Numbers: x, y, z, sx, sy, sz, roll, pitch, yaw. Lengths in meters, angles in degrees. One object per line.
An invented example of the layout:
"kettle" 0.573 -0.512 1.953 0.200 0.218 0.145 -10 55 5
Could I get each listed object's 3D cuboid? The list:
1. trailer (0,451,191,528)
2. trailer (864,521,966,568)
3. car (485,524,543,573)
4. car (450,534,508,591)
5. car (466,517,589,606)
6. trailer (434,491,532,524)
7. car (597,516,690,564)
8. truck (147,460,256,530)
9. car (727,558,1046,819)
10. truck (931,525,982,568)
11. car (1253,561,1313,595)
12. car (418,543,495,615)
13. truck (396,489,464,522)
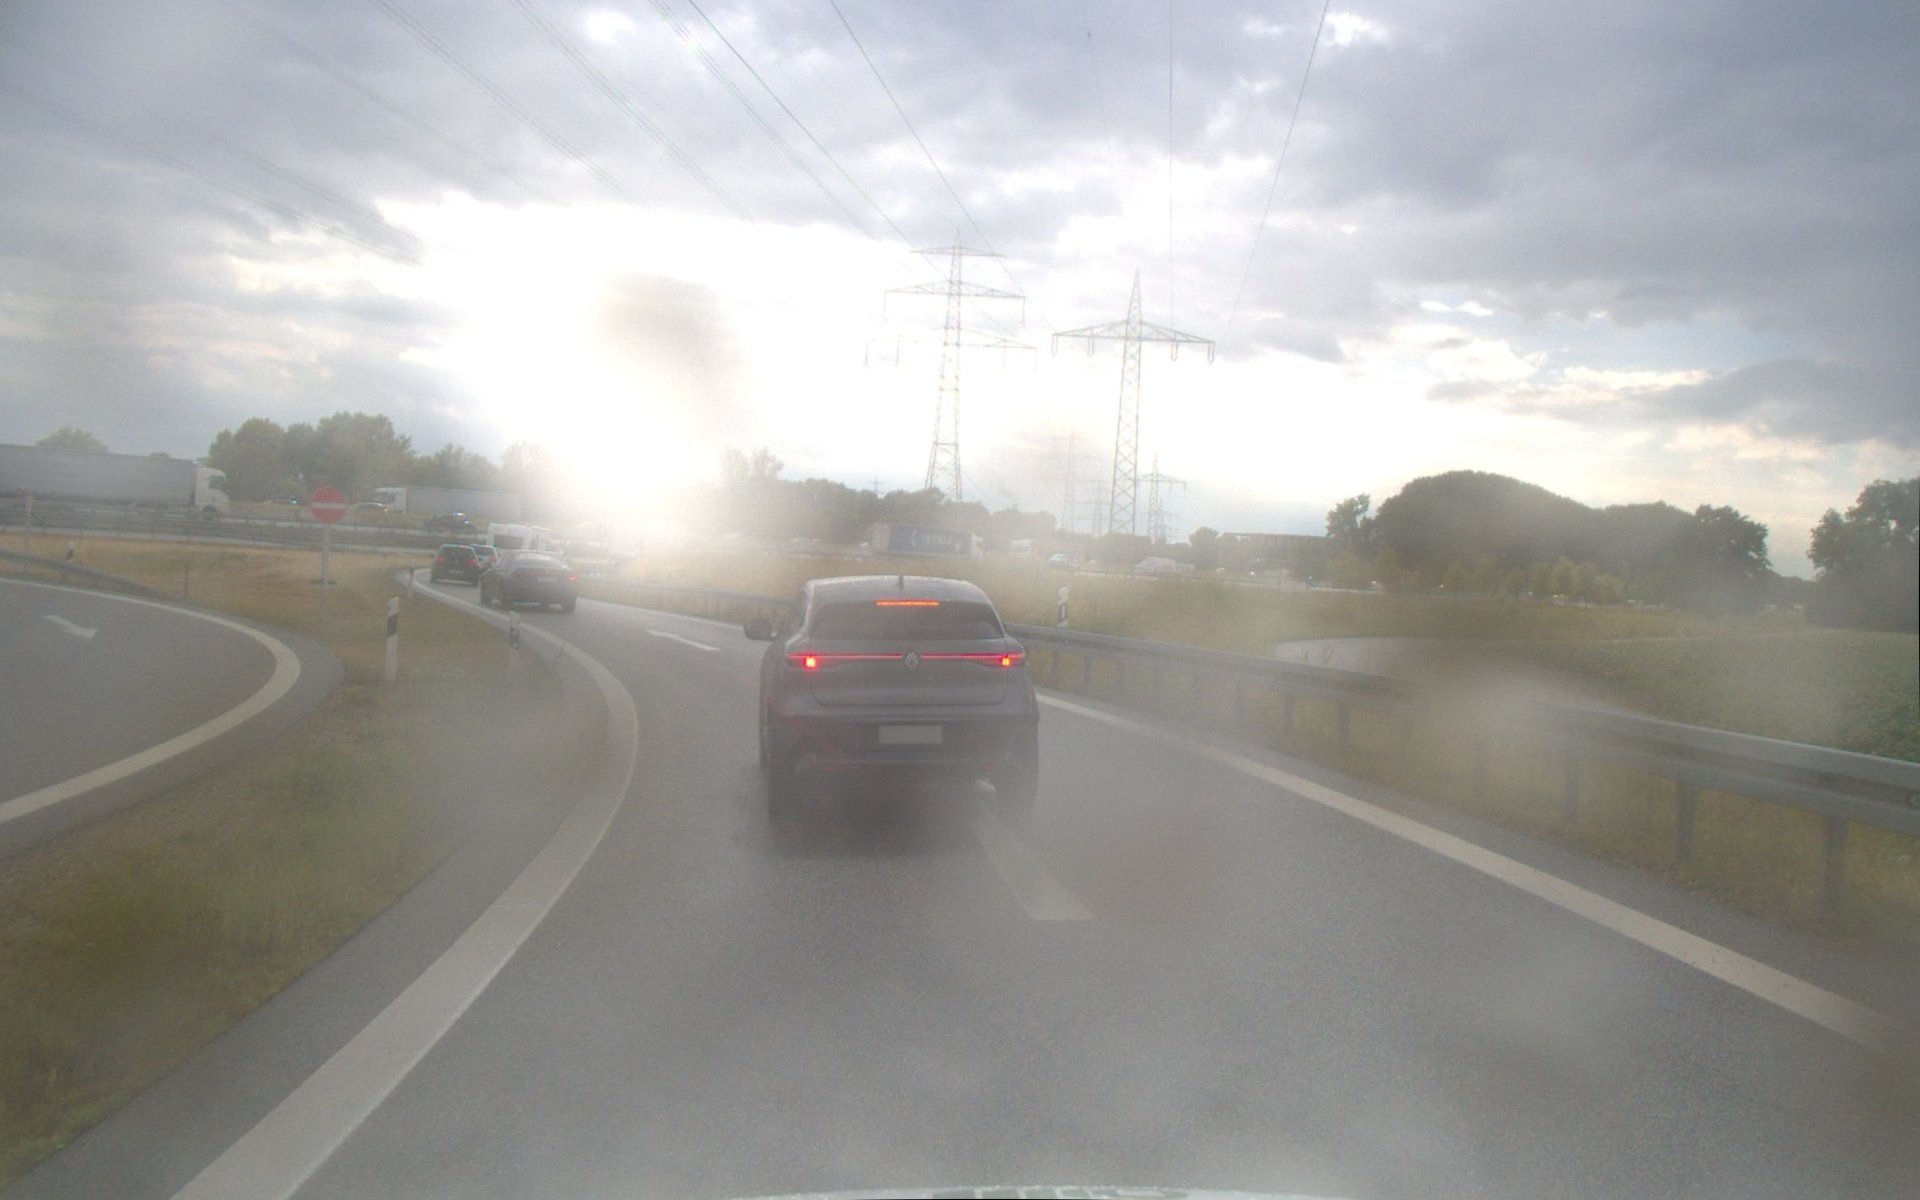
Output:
"trailer" -59.921 -7.499 112.761 3.423 4.695 13.314 5 4 41
"trailer" -4.794 -5.922 179.601 3.002 4.714 13.234 5 4 39
"car" -23.888 -2.795 88.746 2.307 2.346 5.121 2 3 -8
"car" -22.161 -1.767 76.299 2.312 2.346 5.111 2 3 -15
"car" -11.612 -1.075 44.140 2.095 2.052 5.491 1 3 -26
"trailer" -50.359 -9.753 174.951 2.277 3.078 10.434 5 4 39
"car" -21.492 -4.113 112.727 3.071 3.001 7.213 4 3 18
"truck" -54.525 -7.537 118.965 3.293 4.643 6.231 5 4 42
"car" -0.598 0.492 12.236 1.954 1.593 4.146 0 1 -4
"truck" -0.394 -5.991 184.920 3.023 4.556 5.046 5 4 40
"car" 40.121 -2.713 205.077 3.331 3.673 9.001 4 1 38
"car" -19.044 -0.846 62.770 2.310 2.346 5.114 2 3 -13
"truck" -54.367 -9.710 169.845 2.277 3.078 6.437 5 4 39
